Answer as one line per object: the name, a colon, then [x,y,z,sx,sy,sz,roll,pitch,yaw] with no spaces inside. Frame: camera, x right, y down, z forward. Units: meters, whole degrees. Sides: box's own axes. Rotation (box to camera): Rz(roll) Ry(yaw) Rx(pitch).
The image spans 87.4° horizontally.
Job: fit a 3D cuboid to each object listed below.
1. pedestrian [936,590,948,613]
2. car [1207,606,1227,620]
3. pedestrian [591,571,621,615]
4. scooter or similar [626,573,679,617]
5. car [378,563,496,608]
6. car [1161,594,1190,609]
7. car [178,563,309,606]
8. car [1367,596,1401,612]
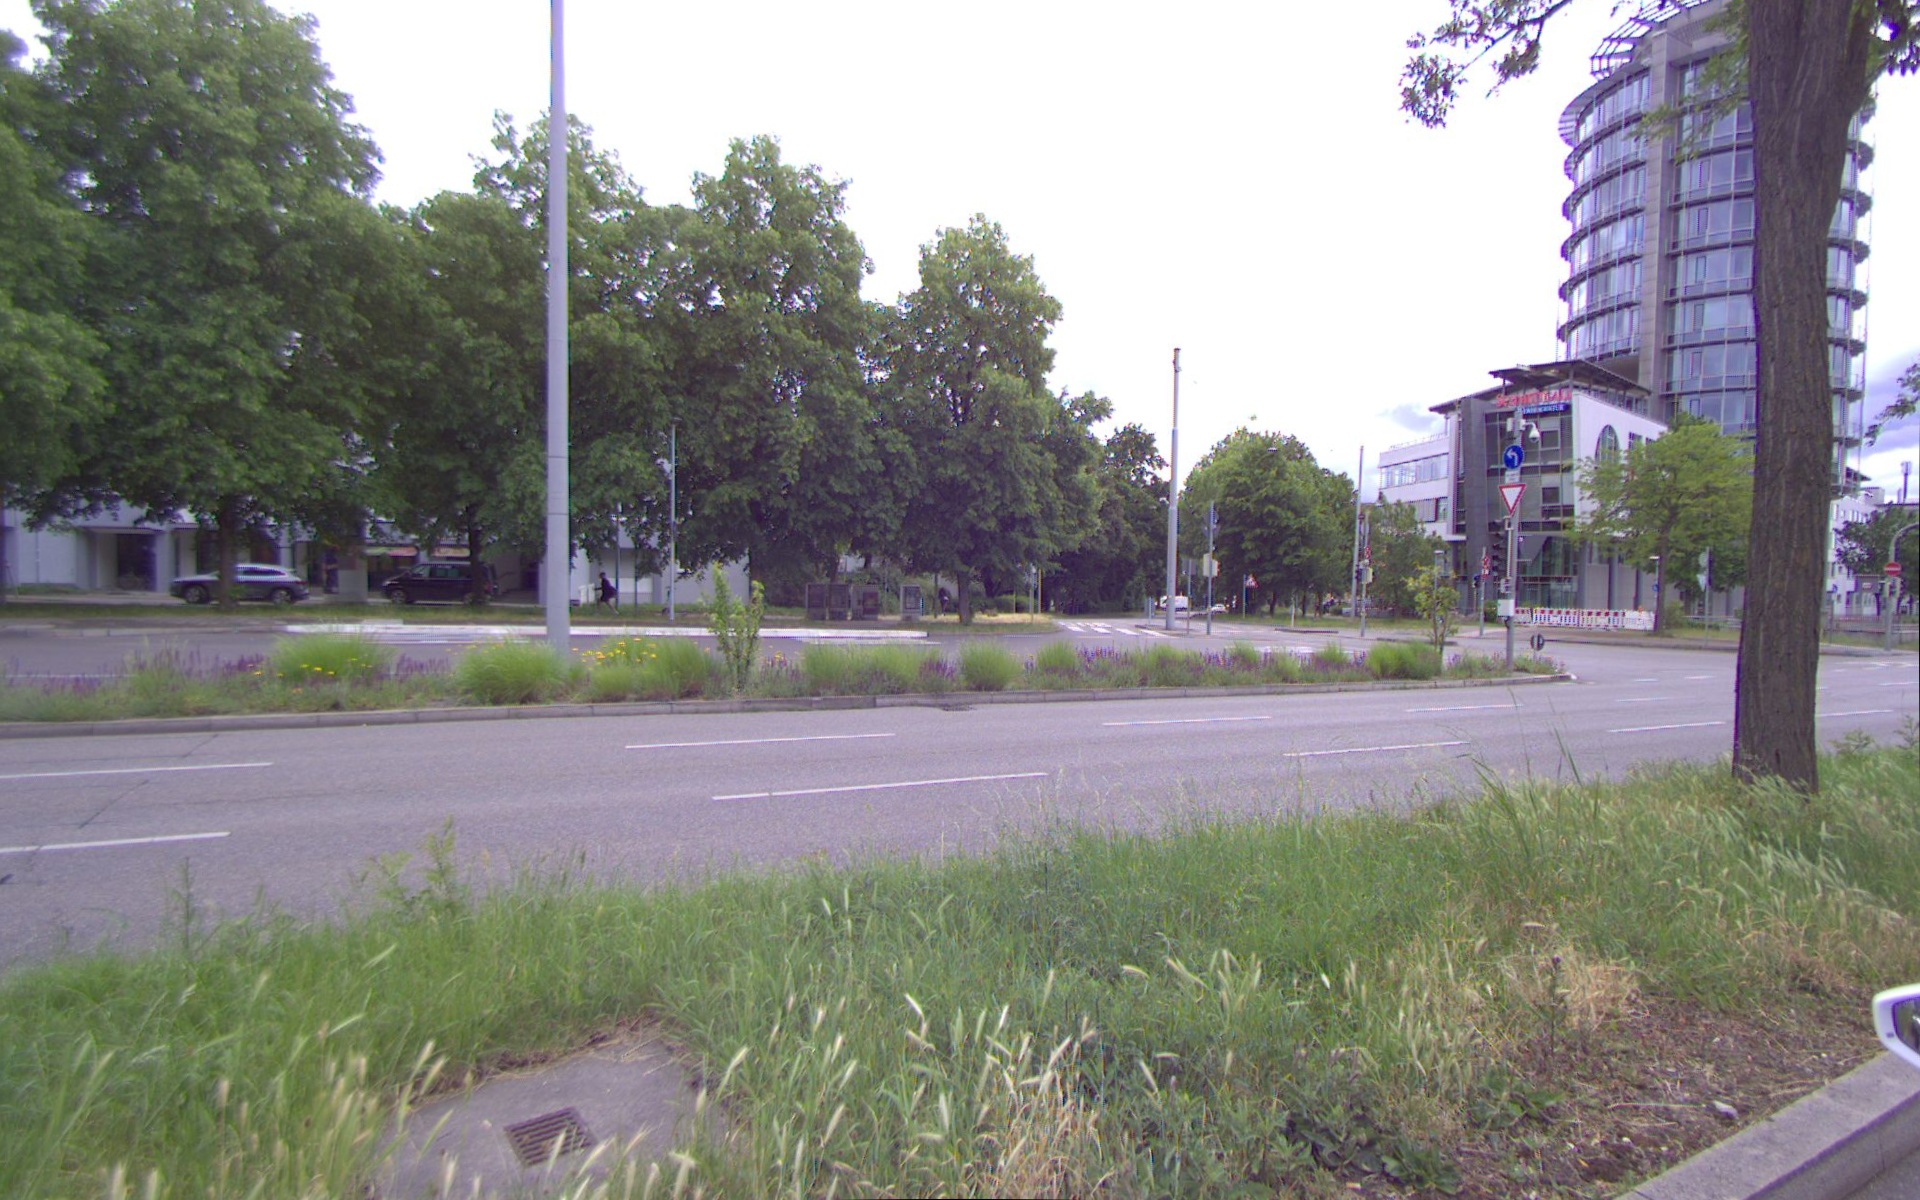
pedestrian: [-1.034,0.072,56.627,0.541,1.268,0.590,2,0,10]
car: [40.900,2.071,159.902,1.691,2.040,3.994,1,1,-8]
pedestrian: [-12.992,-0.244,36.898,0.894,1.578,0.766,1,1,-30]
scooter or similar: [-11.870,-0.186,38.843,1.835,1.686,0.645,1,1,-43]
car: [-23.317,-0.642,44.940,4.345,1.872,1.781,1,1,-16]
car: [37.720,0.241,175.669,4.475,2.370,1.994,2,0,-16]
car: [-27.748,-0.604,39.071,3.953,1.532,1.745,1,1,-30]
car: [25.040,0.232,59.388,1.684,0.888,0.776,1,0,7]
